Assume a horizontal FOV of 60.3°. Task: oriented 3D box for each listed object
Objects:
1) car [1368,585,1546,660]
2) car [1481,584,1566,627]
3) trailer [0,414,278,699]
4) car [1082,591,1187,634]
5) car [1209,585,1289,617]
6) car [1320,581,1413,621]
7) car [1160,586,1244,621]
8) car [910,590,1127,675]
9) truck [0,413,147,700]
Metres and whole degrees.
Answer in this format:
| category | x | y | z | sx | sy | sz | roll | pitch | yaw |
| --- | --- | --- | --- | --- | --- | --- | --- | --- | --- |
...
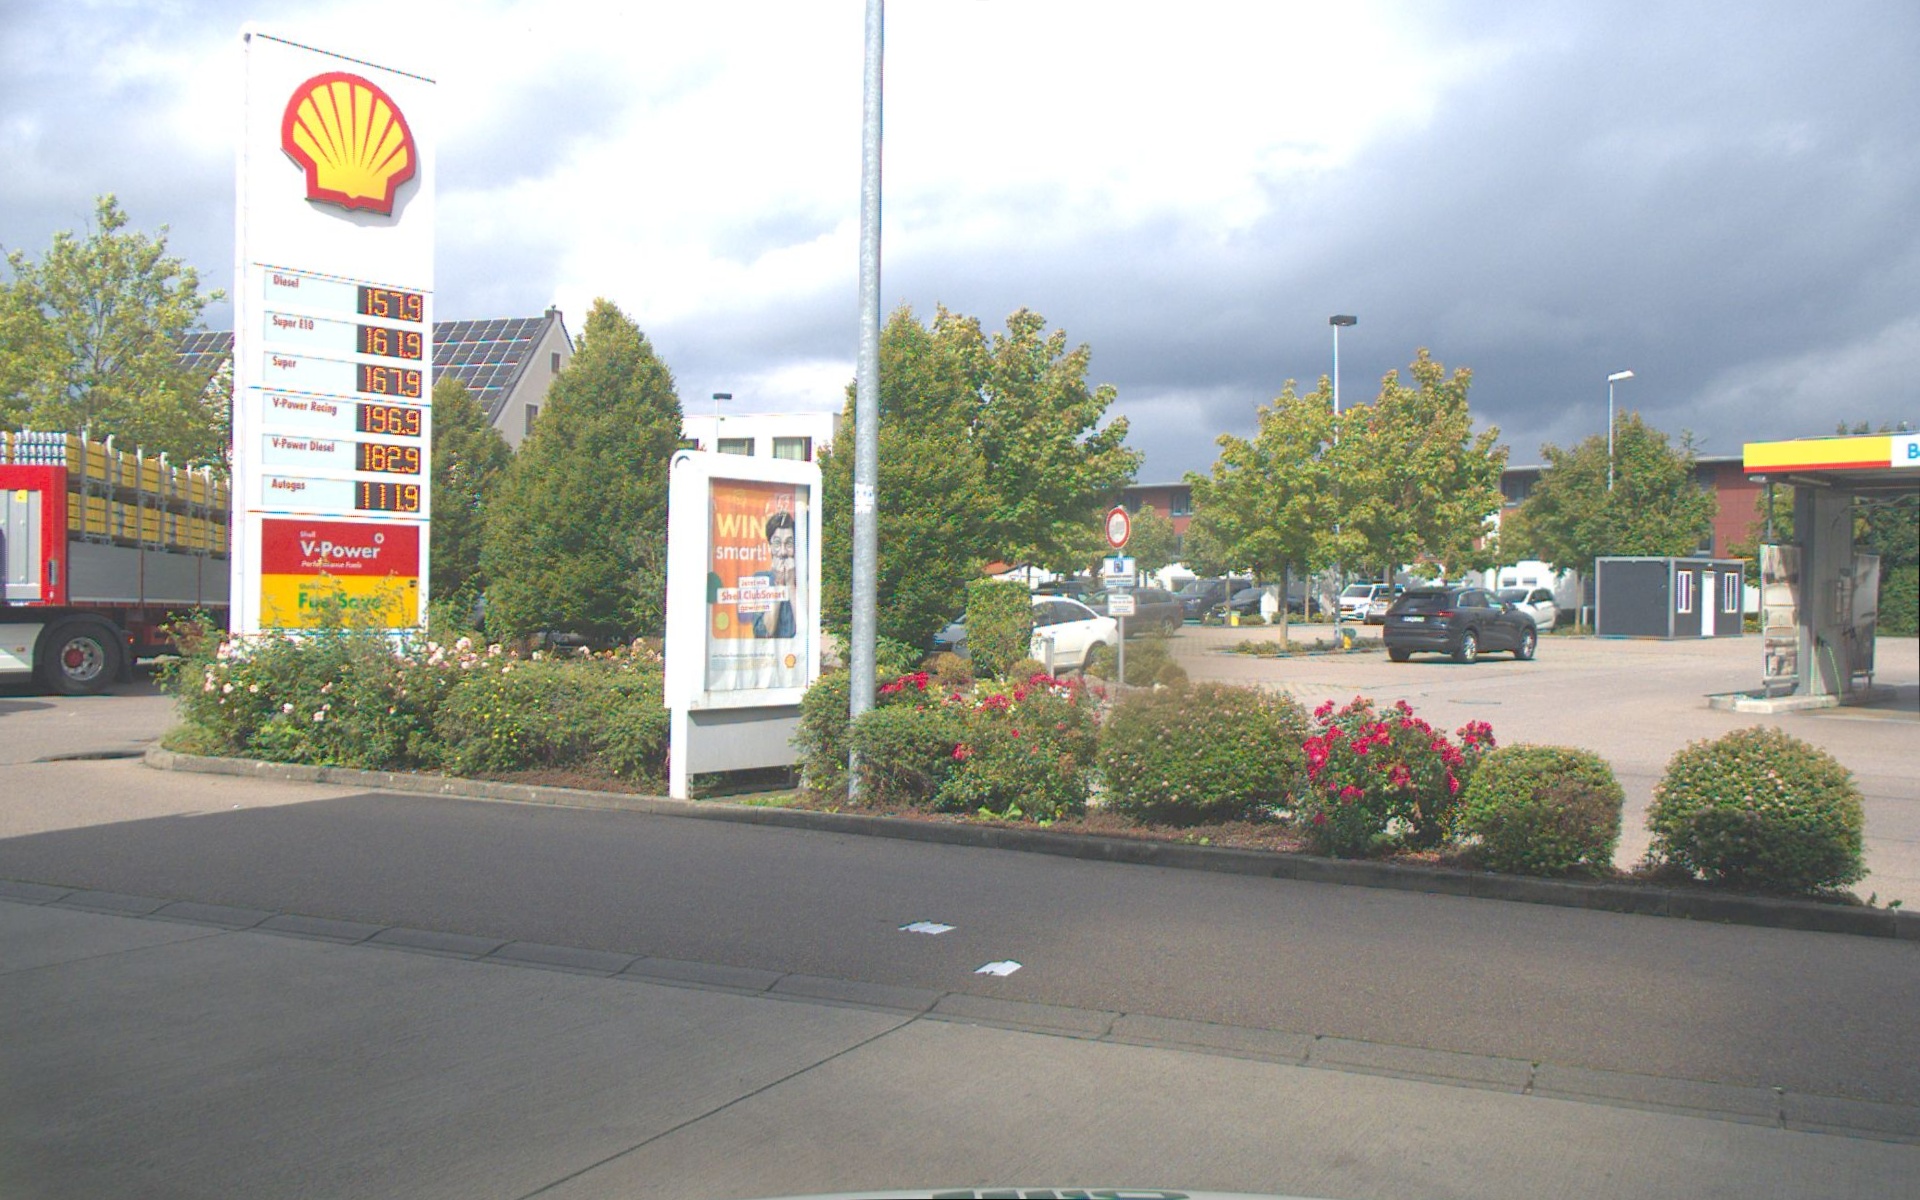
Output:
| category | x | y | z | sx | sy | sz | roll | pitch | yaw |
| --- | --- | --- | --- | --- | --- | --- | --- | --- | --- |
| car | 11.129 | 0.493 | 36.890 | 4.467 | 1.575 | 1.856 | 1 | 0 | -44 |
| car | 18.007 | 0.180 | 52.803 | 3.080 | 1.330 | 1.346 | 1 | -1 | -45 |
| trailer | -14.595 | -0.593 | 28.416 | 2.681 | 3.842 | 12.680 | 1 | 0 | -11 |
| car | 5.278 | 0.374 | 49.789 | 3.203 | 1.249 | 1.481 | 1 | 0 | -45 |
| car | 11.412 | 0.052 | 65.207 | 3.393 | 1.199 | 1.462 | 1 | 0 | -45 |
| car | 19.915 | 0.050 | 80.942 | 4.839 | 1.865 | 2.150 | 1 | 0 | -44 |
| car | 9.811 | 0.155 | 66.929 | 3.364 | 1.343 | 1.719 | 1 | 0 | -45 |
| car | 1.131 | 0.580 | 29.933 | 1.348 | 1.428 | 4.312 | 1 | -1 | 45 |
| truck | -14.803 | -0.622 | 22.772 | 2.693 | 3.913 | 5.882 | 1 | -1 | 42 |
